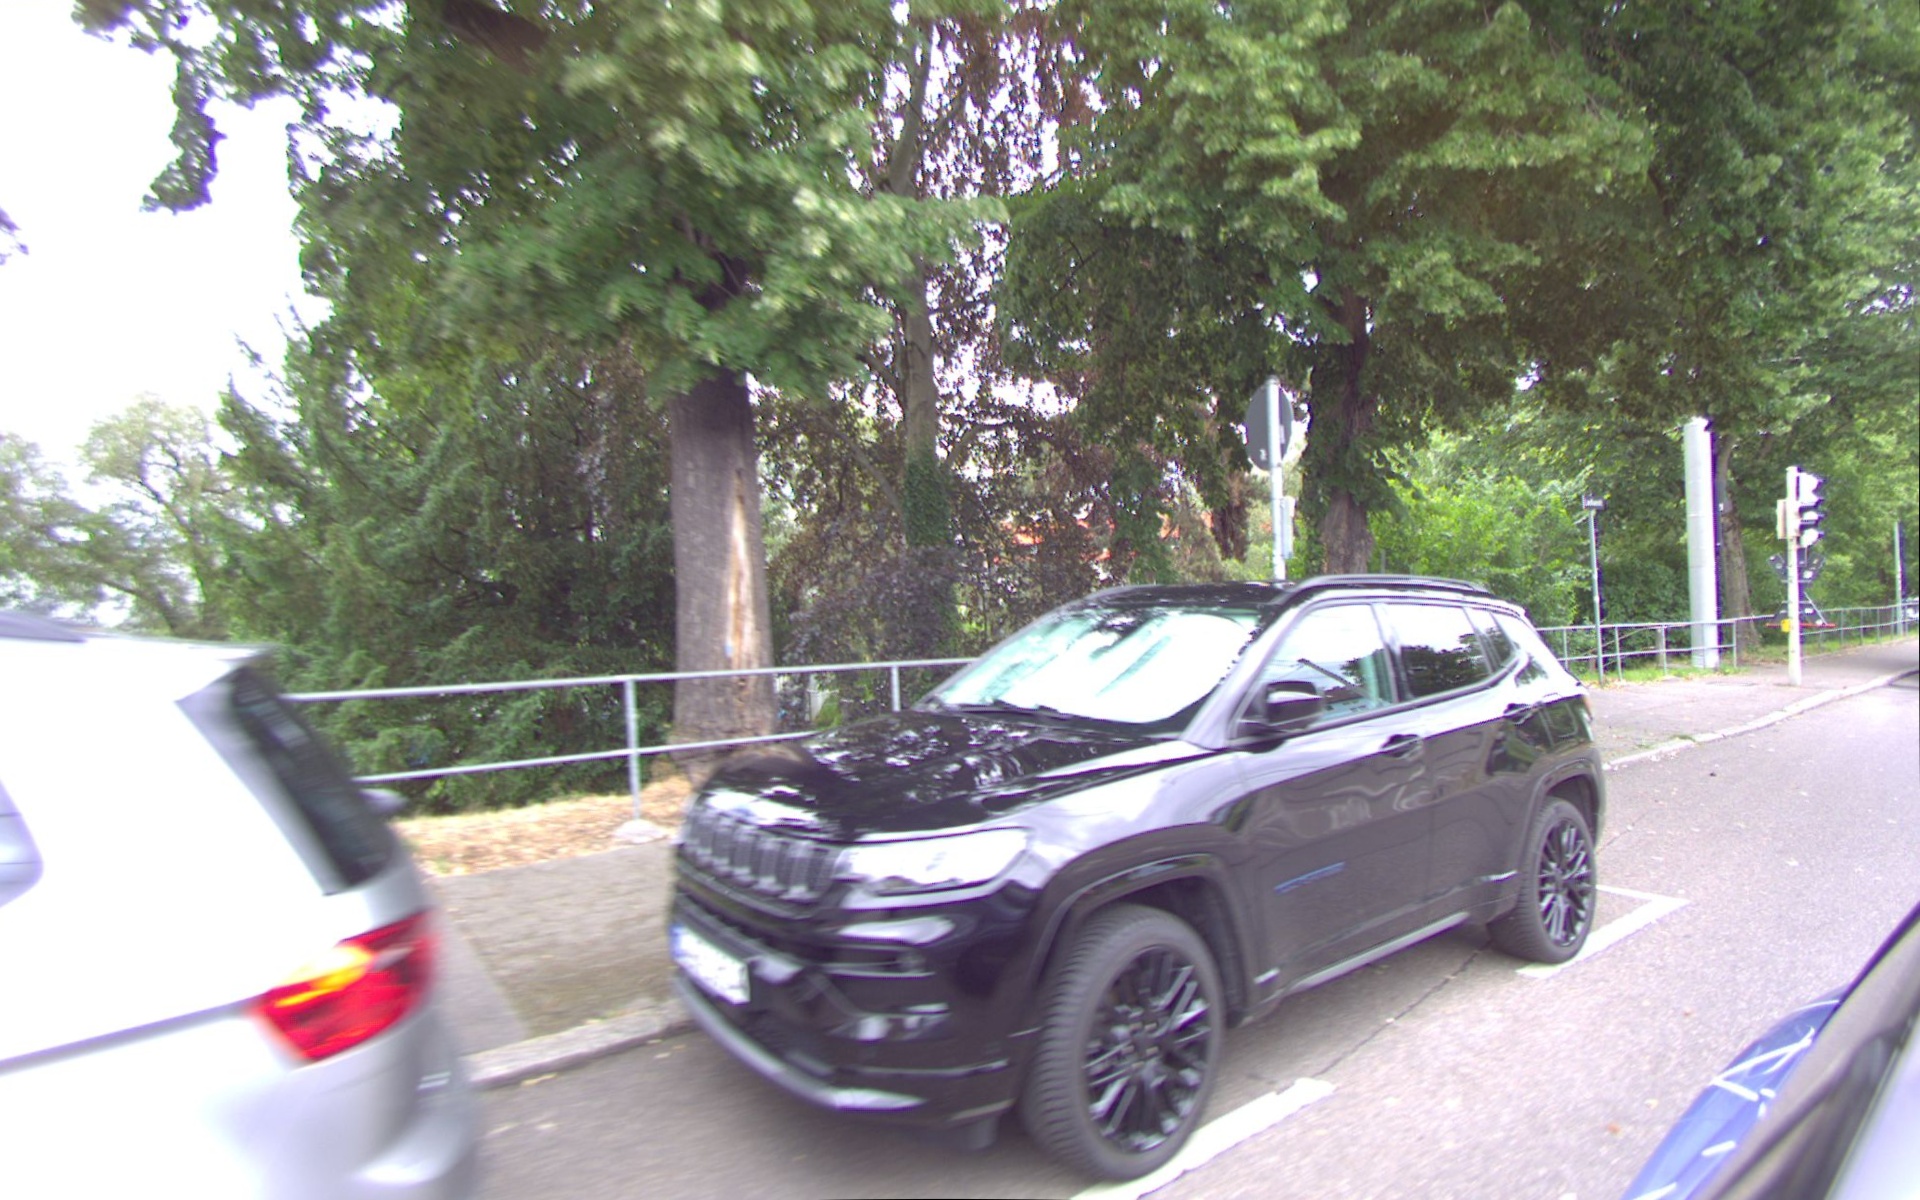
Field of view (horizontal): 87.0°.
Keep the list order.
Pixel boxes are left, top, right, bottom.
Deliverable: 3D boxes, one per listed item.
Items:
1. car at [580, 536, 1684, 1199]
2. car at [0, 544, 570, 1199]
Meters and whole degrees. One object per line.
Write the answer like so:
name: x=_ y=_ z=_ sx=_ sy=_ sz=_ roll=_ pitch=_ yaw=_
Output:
car: x=1.008 y=0.684 z=4.213 sx=4.514 sy=1.636 sz=1.909 roll=-1 pitch=-1 yaw=-36
car: x=-2.862 y=0.752 z=1.055 sx=4.284 sy=1.595 sz=1.738 roll=-1 pitch=0 yaw=-38
